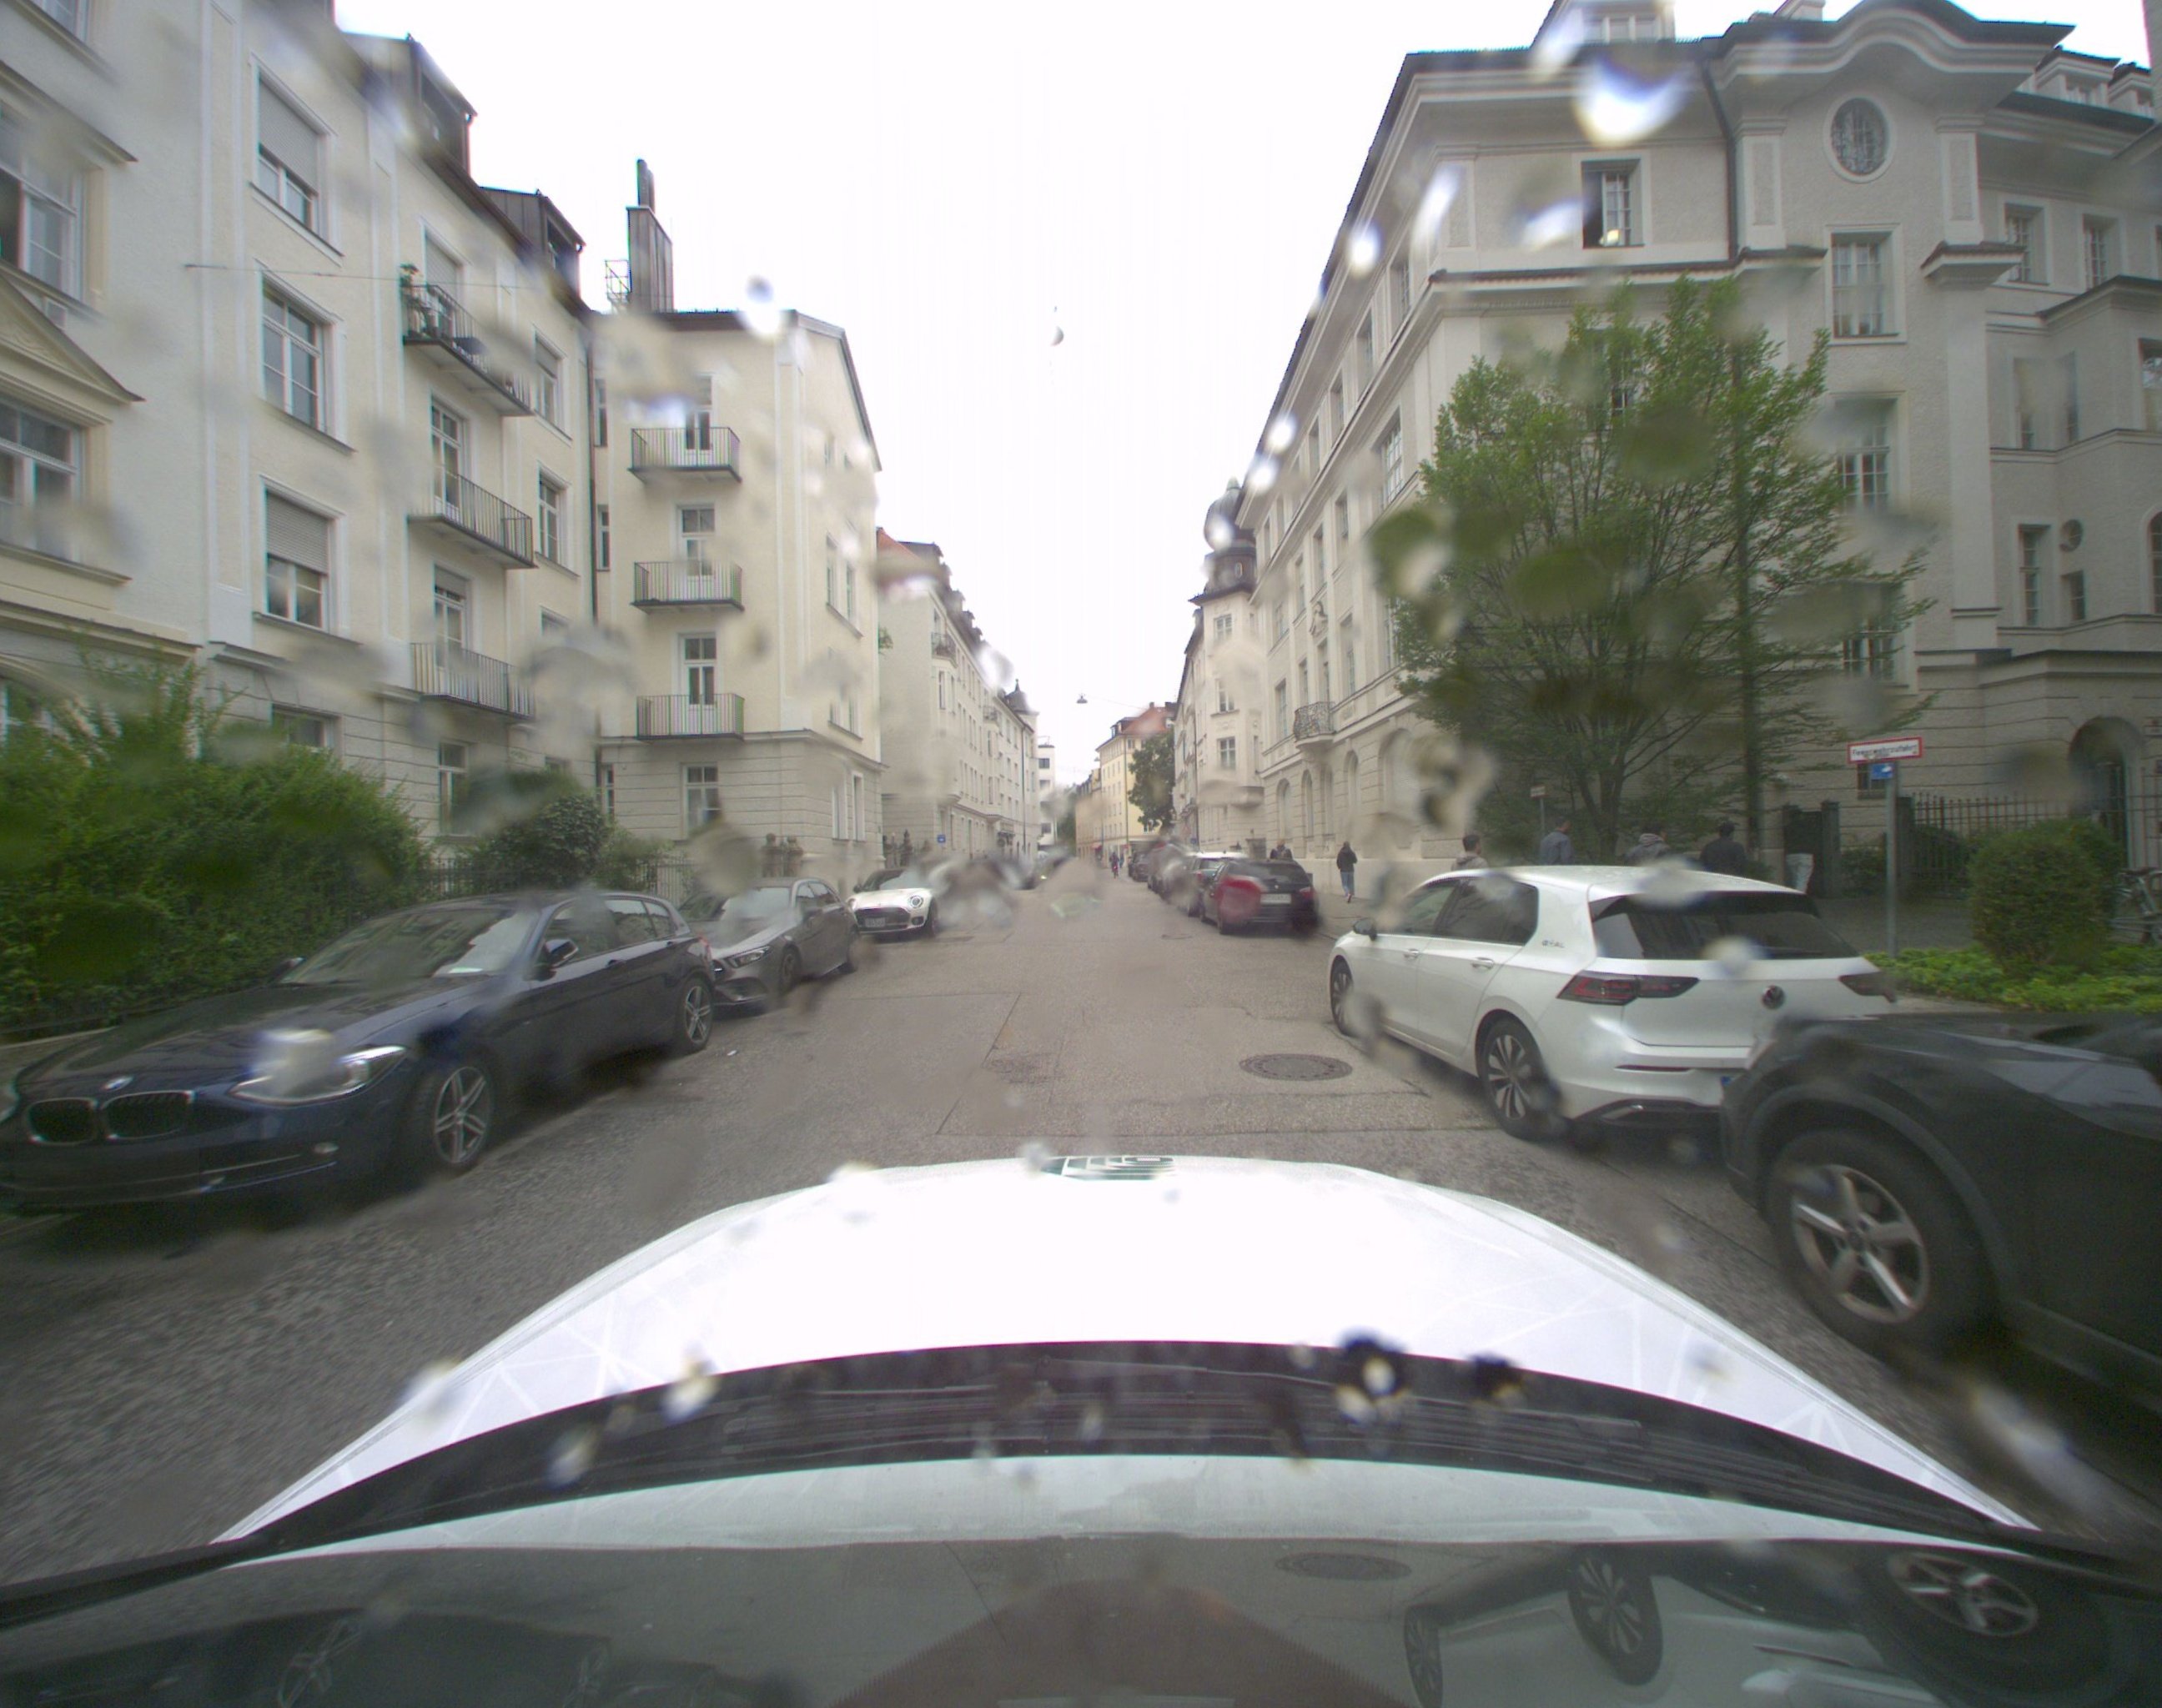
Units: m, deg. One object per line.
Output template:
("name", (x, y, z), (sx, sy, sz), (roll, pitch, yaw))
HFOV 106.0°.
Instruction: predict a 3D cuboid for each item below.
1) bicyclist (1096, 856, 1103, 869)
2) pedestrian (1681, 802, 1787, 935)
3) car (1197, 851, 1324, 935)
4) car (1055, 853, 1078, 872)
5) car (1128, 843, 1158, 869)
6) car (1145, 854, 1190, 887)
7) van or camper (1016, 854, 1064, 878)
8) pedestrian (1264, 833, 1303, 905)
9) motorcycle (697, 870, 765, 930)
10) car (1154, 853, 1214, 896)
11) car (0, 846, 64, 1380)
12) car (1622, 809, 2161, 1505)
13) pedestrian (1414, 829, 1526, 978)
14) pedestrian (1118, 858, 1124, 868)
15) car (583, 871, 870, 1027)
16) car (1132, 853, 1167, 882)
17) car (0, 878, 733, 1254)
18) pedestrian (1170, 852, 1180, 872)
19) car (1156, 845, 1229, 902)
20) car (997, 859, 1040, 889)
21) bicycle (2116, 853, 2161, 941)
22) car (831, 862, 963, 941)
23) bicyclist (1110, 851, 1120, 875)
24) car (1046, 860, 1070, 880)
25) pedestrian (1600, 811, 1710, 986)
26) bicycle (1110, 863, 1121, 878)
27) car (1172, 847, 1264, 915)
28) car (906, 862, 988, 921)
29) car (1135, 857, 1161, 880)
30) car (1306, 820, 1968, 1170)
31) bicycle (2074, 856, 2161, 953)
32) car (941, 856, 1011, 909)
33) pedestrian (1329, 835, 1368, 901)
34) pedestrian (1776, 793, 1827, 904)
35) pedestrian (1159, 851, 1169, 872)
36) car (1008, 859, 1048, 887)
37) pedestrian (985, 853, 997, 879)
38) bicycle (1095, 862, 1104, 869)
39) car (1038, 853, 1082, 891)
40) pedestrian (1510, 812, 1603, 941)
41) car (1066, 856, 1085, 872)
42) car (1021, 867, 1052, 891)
("bicyclist", (2.530, 1.173, 111.356), (0.782, 1.637, 0.972), (-2, -1, -13))
("pedestrian", (9.426, 0.203, 11.777), (0.857, 1.817, 0.678), (-4, -1, 0))
("car", (3.471, 0.693, 16.492), (1.705, 1.452, 4.225), (-1, 0, 1))
("car", (-1.368, 0.824, 78.742), (1.834, 1.757, 4.004), (-2, -1, 4))
("car", (4.481, 0.173, 59.356), (1.904, 1.885, 4.715), (0, -1, 1))
("car", (3.833, 0.736, 36.563), (1.607, 1.395, 4.000), (-1, -1, 1))
("van or camper", (-5.172, 1.531, 102.894), (5.898, 2.677, 1.868), (-2, -3, -7))
("pedestrian", (5.289, 0.385, 21.331), (0.679, 1.775, 0.855), (-5, -1, 2))
("motorcycle", (-7.730, 0.988, 18.071), (0.702, 1.250, 1.820), (-1, -2, 0))
("car", (3.874, 0.774, 31.162), (1.703, 1.501, 3.997), (-1, -1, -1))
("car", (-4.301, 0.830, 0.429), (1.800, 1.648, 4.485), (-3, -1, 1))
("car", (3.236, 0.657, 1.437), (1.787, 1.498, 4.079), (0, 0, -2))
("pedestrian", (4.621, 0.558, 9.679), (0.857, 1.658, 0.857), (-1, -2, -38))
("pedestrian", (5.373, 1.194, 109.484), (0.695, 1.270, 0.652), (-3, -1, 6))
("car", (-4.036, 0.979, 10.135), (1.730, 1.365, 4.190), (-4, -1, -2))
("car", (3.994, 0.775, 47.708), (1.702, 1.588, 3.999), (-1, -1, 0))
("car", (-4.000, 0.918, 5.313), (1.763, 1.420, 3.998), (-1, -1, -1))
("pedestrian", (8.220, 0.705, 71.206), (0.677, 1.674, 0.654), (-4, -1, -1))
("car", (3.535, 0.576, 26.566), (1.888, 1.636, 4.394), (-2, 0, 2))
("car", (-3.160, 1.011, 42.006), (1.844, 1.367, 4.700), (-2, -1, -1))
("bicycle", (11.463, 0.440, 8.264), (0.450, 0.908, 1.131), (-3, -2, 3))
("car", (-3.771, 0.942, 17.445), (1.791, 1.435, 4.080), (-2, -1, 1))
("bicyclist", (2.308, 0.612, 55.544), (0.603, 1.607, 0.758), (-3, -1, 5))
("car", (-1.828, 1.317, 66.434), (1.735, 1.487, 4.181), (-2, -1, 1))
("pedestrian", (6.076, 0.453, 8.654), (0.625, 1.769, 0.672), (-2, -1, 0))
("bicycle", (2.341, 1.109, 55.553), (0.636, 1.004, 1.576), (-2, -1, 6))
("car", (3.428, 0.648, 21.081), (1.742, 1.525, 4.171), (-2, -1, 2))
("car", (-3.712, 0.999, 23.144), (1.640, 1.403, 3.998), (-4, -1, -1))
("car", (4.383, 0.950, 53.462), (1.656, 1.395, 3.585), (0, -1, 3))
("car", (3.045, 0.660, 5.644), (1.659, 1.508, 4.059), (-1, -1, -3))
("bicycle", (10.423, 0.476, 7.786), (0.450, 0.908, 1.131), (-3, -2, 3))
("car", (-3.557, 0.934, 28.281), (1.690, 1.580, 4.063), (-5, 0, 2))
("pedestrian", (7.174, 0.367, 21.863), (0.680, 1.679, 0.812), (-4, -1, 0))
("pedestrian", (11.938, -0.082, 13.485), (0.547, 1.794, 0.577), (-3, -1, 43))
("pedestrian", (7.219, 0.648, 70.796), (0.701, 1.728, 0.703), (-3, -1, -1))
("car", (-3.074, 1.085, 47.901), (1.788, 1.420, 4.511), (-5, -1, 1))
("pedestrian", (-5.916, 0.779, 53.420), (0.695, 1.707, 0.665), (-2, -1, -1))
("bicycle", (2.532, 1.553, 111.421), (0.847, 1.001, 2.160), (-2, -1, -12))
("car", (-0.912, 0.822, 37.805), (1.718, 1.533, 4.087), (-5, -1, 2))
("pedestrian", (6.816, 0.313, 11.711), (0.879, 1.769, 0.672), (-2, -1, 0))
("car", (-0.554, 1.094, 86.714), (1.669, 1.597, 3.948), (-4, -1, 3))
("car", (-2.878, 1.577, 53.246), (1.806, 1.385, 4.439), (-4, -1, -2))
